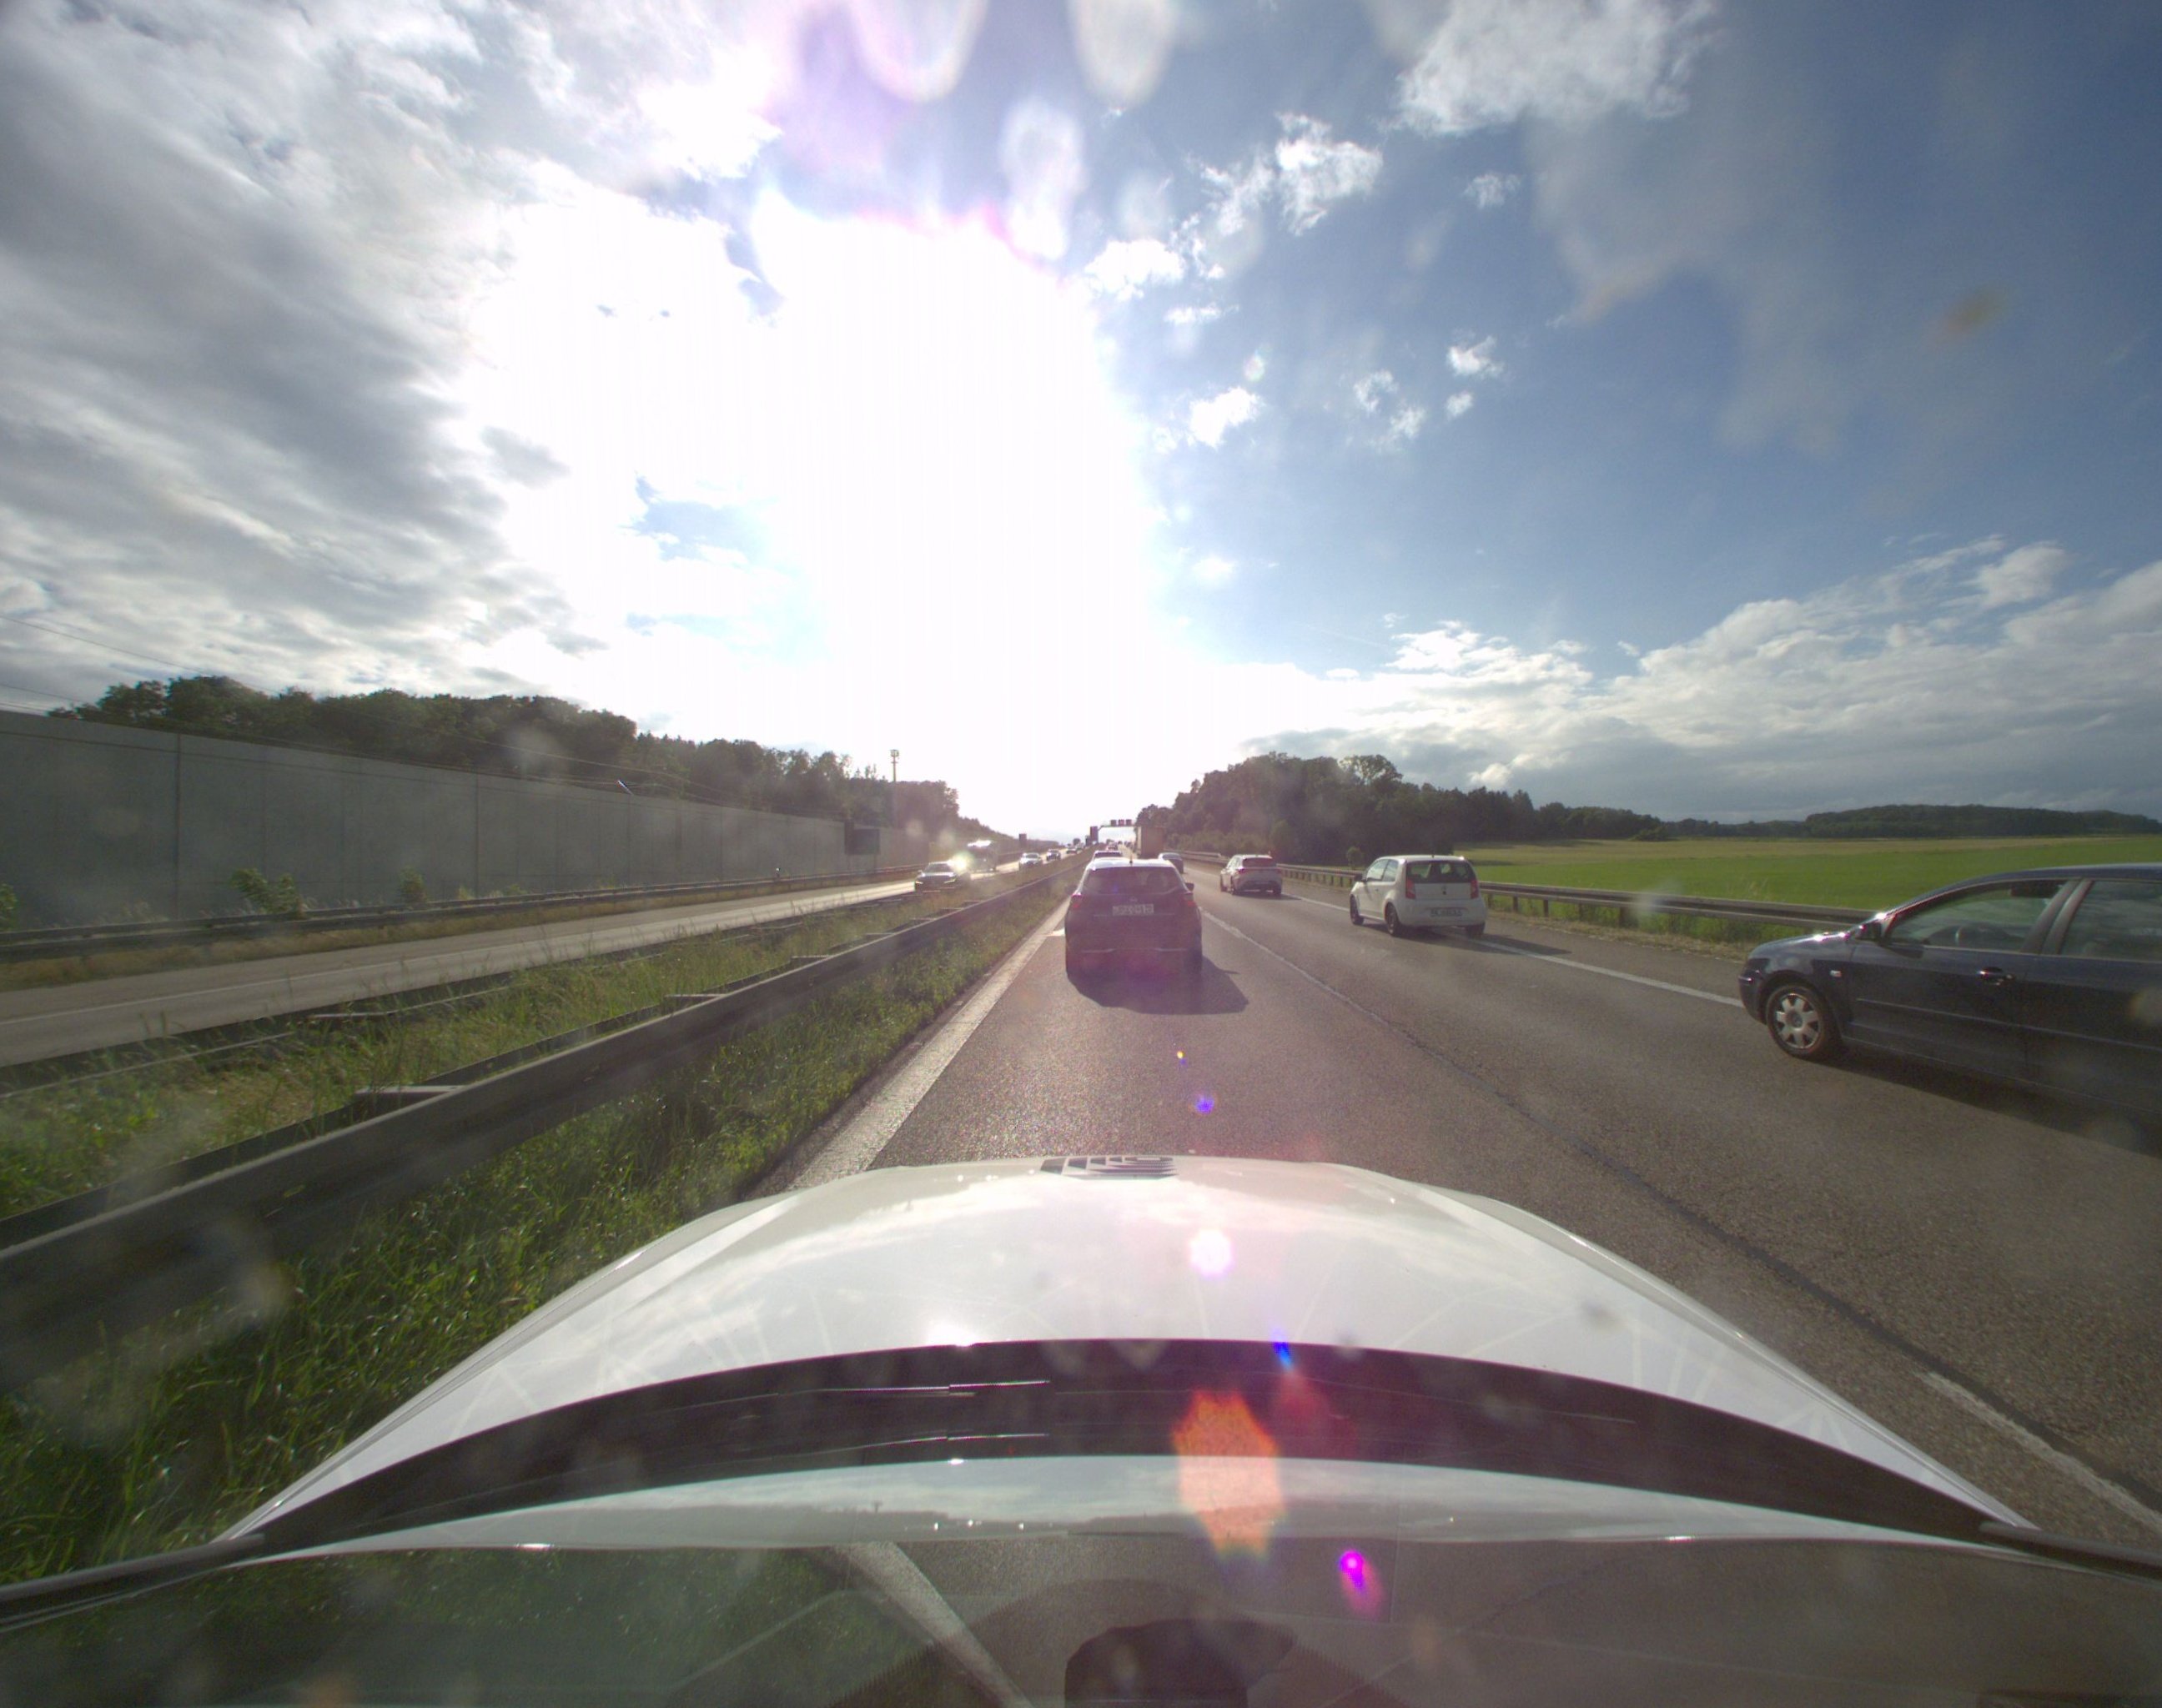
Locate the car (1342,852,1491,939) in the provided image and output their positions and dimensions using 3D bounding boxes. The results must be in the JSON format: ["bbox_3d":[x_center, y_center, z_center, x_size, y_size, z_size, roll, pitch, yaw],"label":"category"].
[{"bbox_3d":[6.343,0.710,15.775,1.543,1.495,3.378,0,0,1],"label":"car"}]

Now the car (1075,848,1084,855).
[{"bbox_3d":[-0.257,-0.614,186.621,1.986,1.433,4.450,0,-1,2],"label":"car"}]

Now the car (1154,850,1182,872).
[{"bbox_3d":[6.011,0.490,56.648,1.739,1.475,4.150,-1,-1,3],"label":"car"}]

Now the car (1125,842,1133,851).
[{"bbox_3d":[11.925,-1.872,203.442,1.986,2.014,4.001,0,-1,2],"label":"car"}]

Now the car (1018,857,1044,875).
[{"bbox_3d":[-4.570,1.097,74.964,1.986,1.593,4.450,0,-1,2],"label":"car"}]

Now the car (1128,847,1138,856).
[{"bbox_3d":[11.541,-0.586,180.738,1.986,2.014,4.001,0,-1,2],"label":"car"}]

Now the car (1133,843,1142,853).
[{"bbox_3d":[10.173,-1.141,146.689,1.660,1.755,3.330,0,-1,4],"label":"car"}]

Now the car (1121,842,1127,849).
[{"bbox_3d":[13.243,-2.528,250.426,1.986,2.014,4.001,0,-1,2],"label":"car"}]

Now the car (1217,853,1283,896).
[{"bbox_3d":[6.155,0.728,30.023,1.615,1.445,4.147,0,-1,1],"label":"car"}]

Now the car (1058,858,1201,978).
[{"bbox_3d":[0.698,0.791,11.481,1.702,1.426,3.381,-1,-1,4],"label":"car"}]

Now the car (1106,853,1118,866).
[{"bbox_3d":[4.918,0.827,129.662,1.986,2.014,4.001,0,-1,2],"label":"car"}]

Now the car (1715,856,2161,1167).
[{"bbox_3d":[5.892,0.735,4.630,1.703,1.445,3.775,0,-1,2],"label":"car"}]

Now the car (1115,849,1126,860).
[{"bbox_3d":[7.670,0.143,158.792,1.986,2.014,4.001,0,-1,2],"label":"car"}]

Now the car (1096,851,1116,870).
[{"bbox_3d":[2.615,0.682,84.649,1.986,2.014,4.001,0,-1,2],"label":"car"}]

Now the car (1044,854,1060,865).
[{"bbox_3d":[-3.900,0.733,111.155,1.847,1.433,4.450,0,-1,2],"label":"car"}]

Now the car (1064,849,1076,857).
[{"bbox_3d":[-2.089,-0.253,157.235,1.986,1.433,4.450,0,-1,2],"label":"car"}]

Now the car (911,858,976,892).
[{"bbox_3d":[-6.041,0.910,36.271,1.986,1.433,4.450,0,-1,2],"label":"car"}]

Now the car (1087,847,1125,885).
[{"bbox_3d":[1.208,0.574,38.549,1.667,1.726,3.599,-1,-1,3],"label":"car"}]

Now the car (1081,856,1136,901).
[{"bbox_3d":[0.938,0.770,26.480,1.667,1.367,3.599,-1,-1,3],"label":"car"}]

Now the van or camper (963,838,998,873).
[{"bbox_3d":[-9.101,0.185,74.388,2.217,3.079,6.515,0,-1,2],"label":"van or camper"}]

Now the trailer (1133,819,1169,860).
[{"bbox_3d":[8.196,-1.531,96.955,3.535,4.457,12.727,0,-1,2],"label":"trailer"}]
